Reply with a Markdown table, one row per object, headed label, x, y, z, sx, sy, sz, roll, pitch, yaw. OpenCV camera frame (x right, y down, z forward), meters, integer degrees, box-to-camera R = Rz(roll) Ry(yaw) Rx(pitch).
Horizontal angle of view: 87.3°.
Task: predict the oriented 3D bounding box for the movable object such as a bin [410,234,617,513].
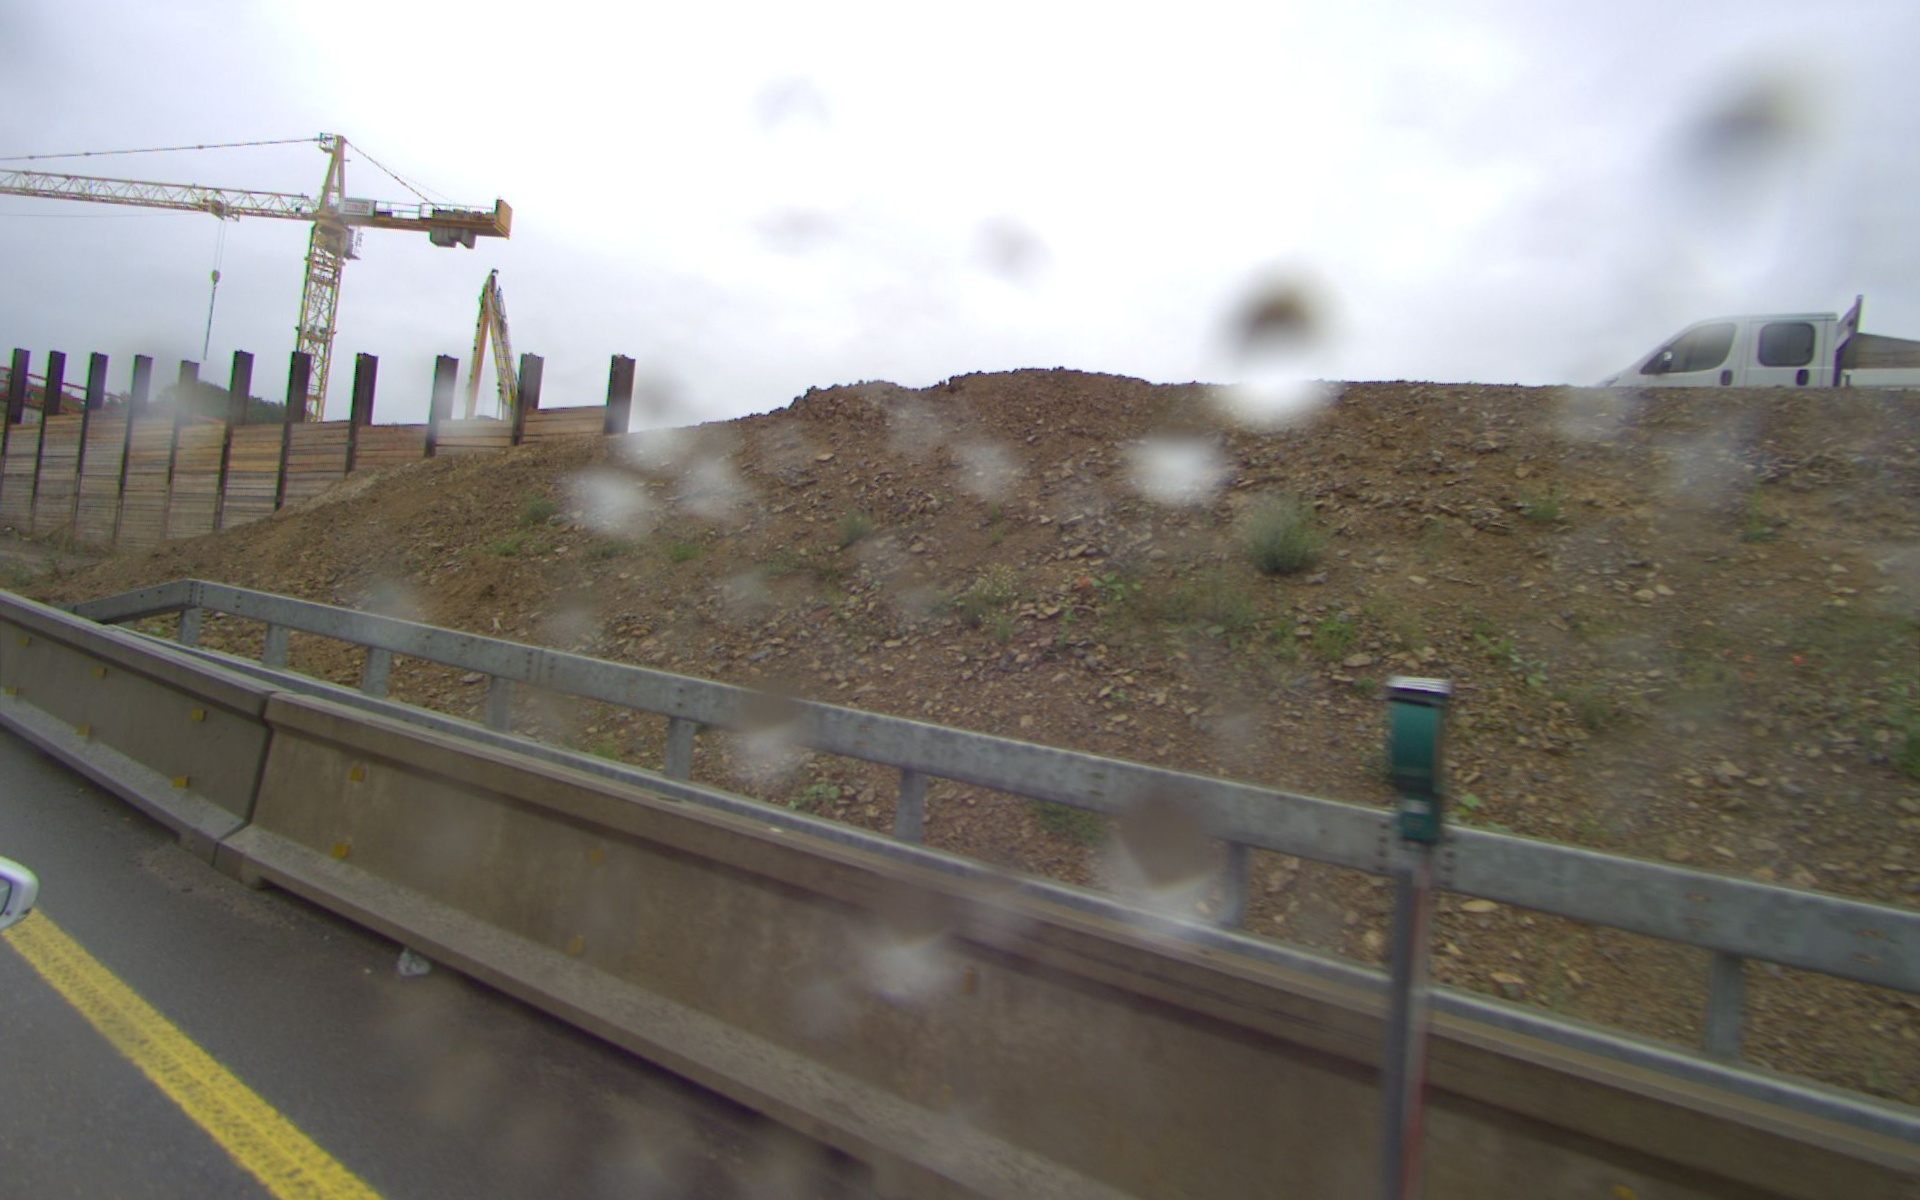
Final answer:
| label | x | y | z | sx | sy | sz | roll | pitch | yaw |
| --- | --- | --- | --- | --- | --- | --- | --- | --- | --- |
| movable object such as a bin | -21.570 | -10.140 | 48.192 | 10.173 | 10.969 | 4.708 | 3 | -2 | 44 |

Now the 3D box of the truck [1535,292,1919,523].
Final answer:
| label | x | y | z | sx | sy | sz | roll | pitch | yaw |
| --- | --- | --- | --- | --- | --- | --- | --- | --- | --- |
| truck | 12.395 | -2.633 | 14.512 | 6.866 | 2.584 | 2.651 | 4 | -2 | 29 |
